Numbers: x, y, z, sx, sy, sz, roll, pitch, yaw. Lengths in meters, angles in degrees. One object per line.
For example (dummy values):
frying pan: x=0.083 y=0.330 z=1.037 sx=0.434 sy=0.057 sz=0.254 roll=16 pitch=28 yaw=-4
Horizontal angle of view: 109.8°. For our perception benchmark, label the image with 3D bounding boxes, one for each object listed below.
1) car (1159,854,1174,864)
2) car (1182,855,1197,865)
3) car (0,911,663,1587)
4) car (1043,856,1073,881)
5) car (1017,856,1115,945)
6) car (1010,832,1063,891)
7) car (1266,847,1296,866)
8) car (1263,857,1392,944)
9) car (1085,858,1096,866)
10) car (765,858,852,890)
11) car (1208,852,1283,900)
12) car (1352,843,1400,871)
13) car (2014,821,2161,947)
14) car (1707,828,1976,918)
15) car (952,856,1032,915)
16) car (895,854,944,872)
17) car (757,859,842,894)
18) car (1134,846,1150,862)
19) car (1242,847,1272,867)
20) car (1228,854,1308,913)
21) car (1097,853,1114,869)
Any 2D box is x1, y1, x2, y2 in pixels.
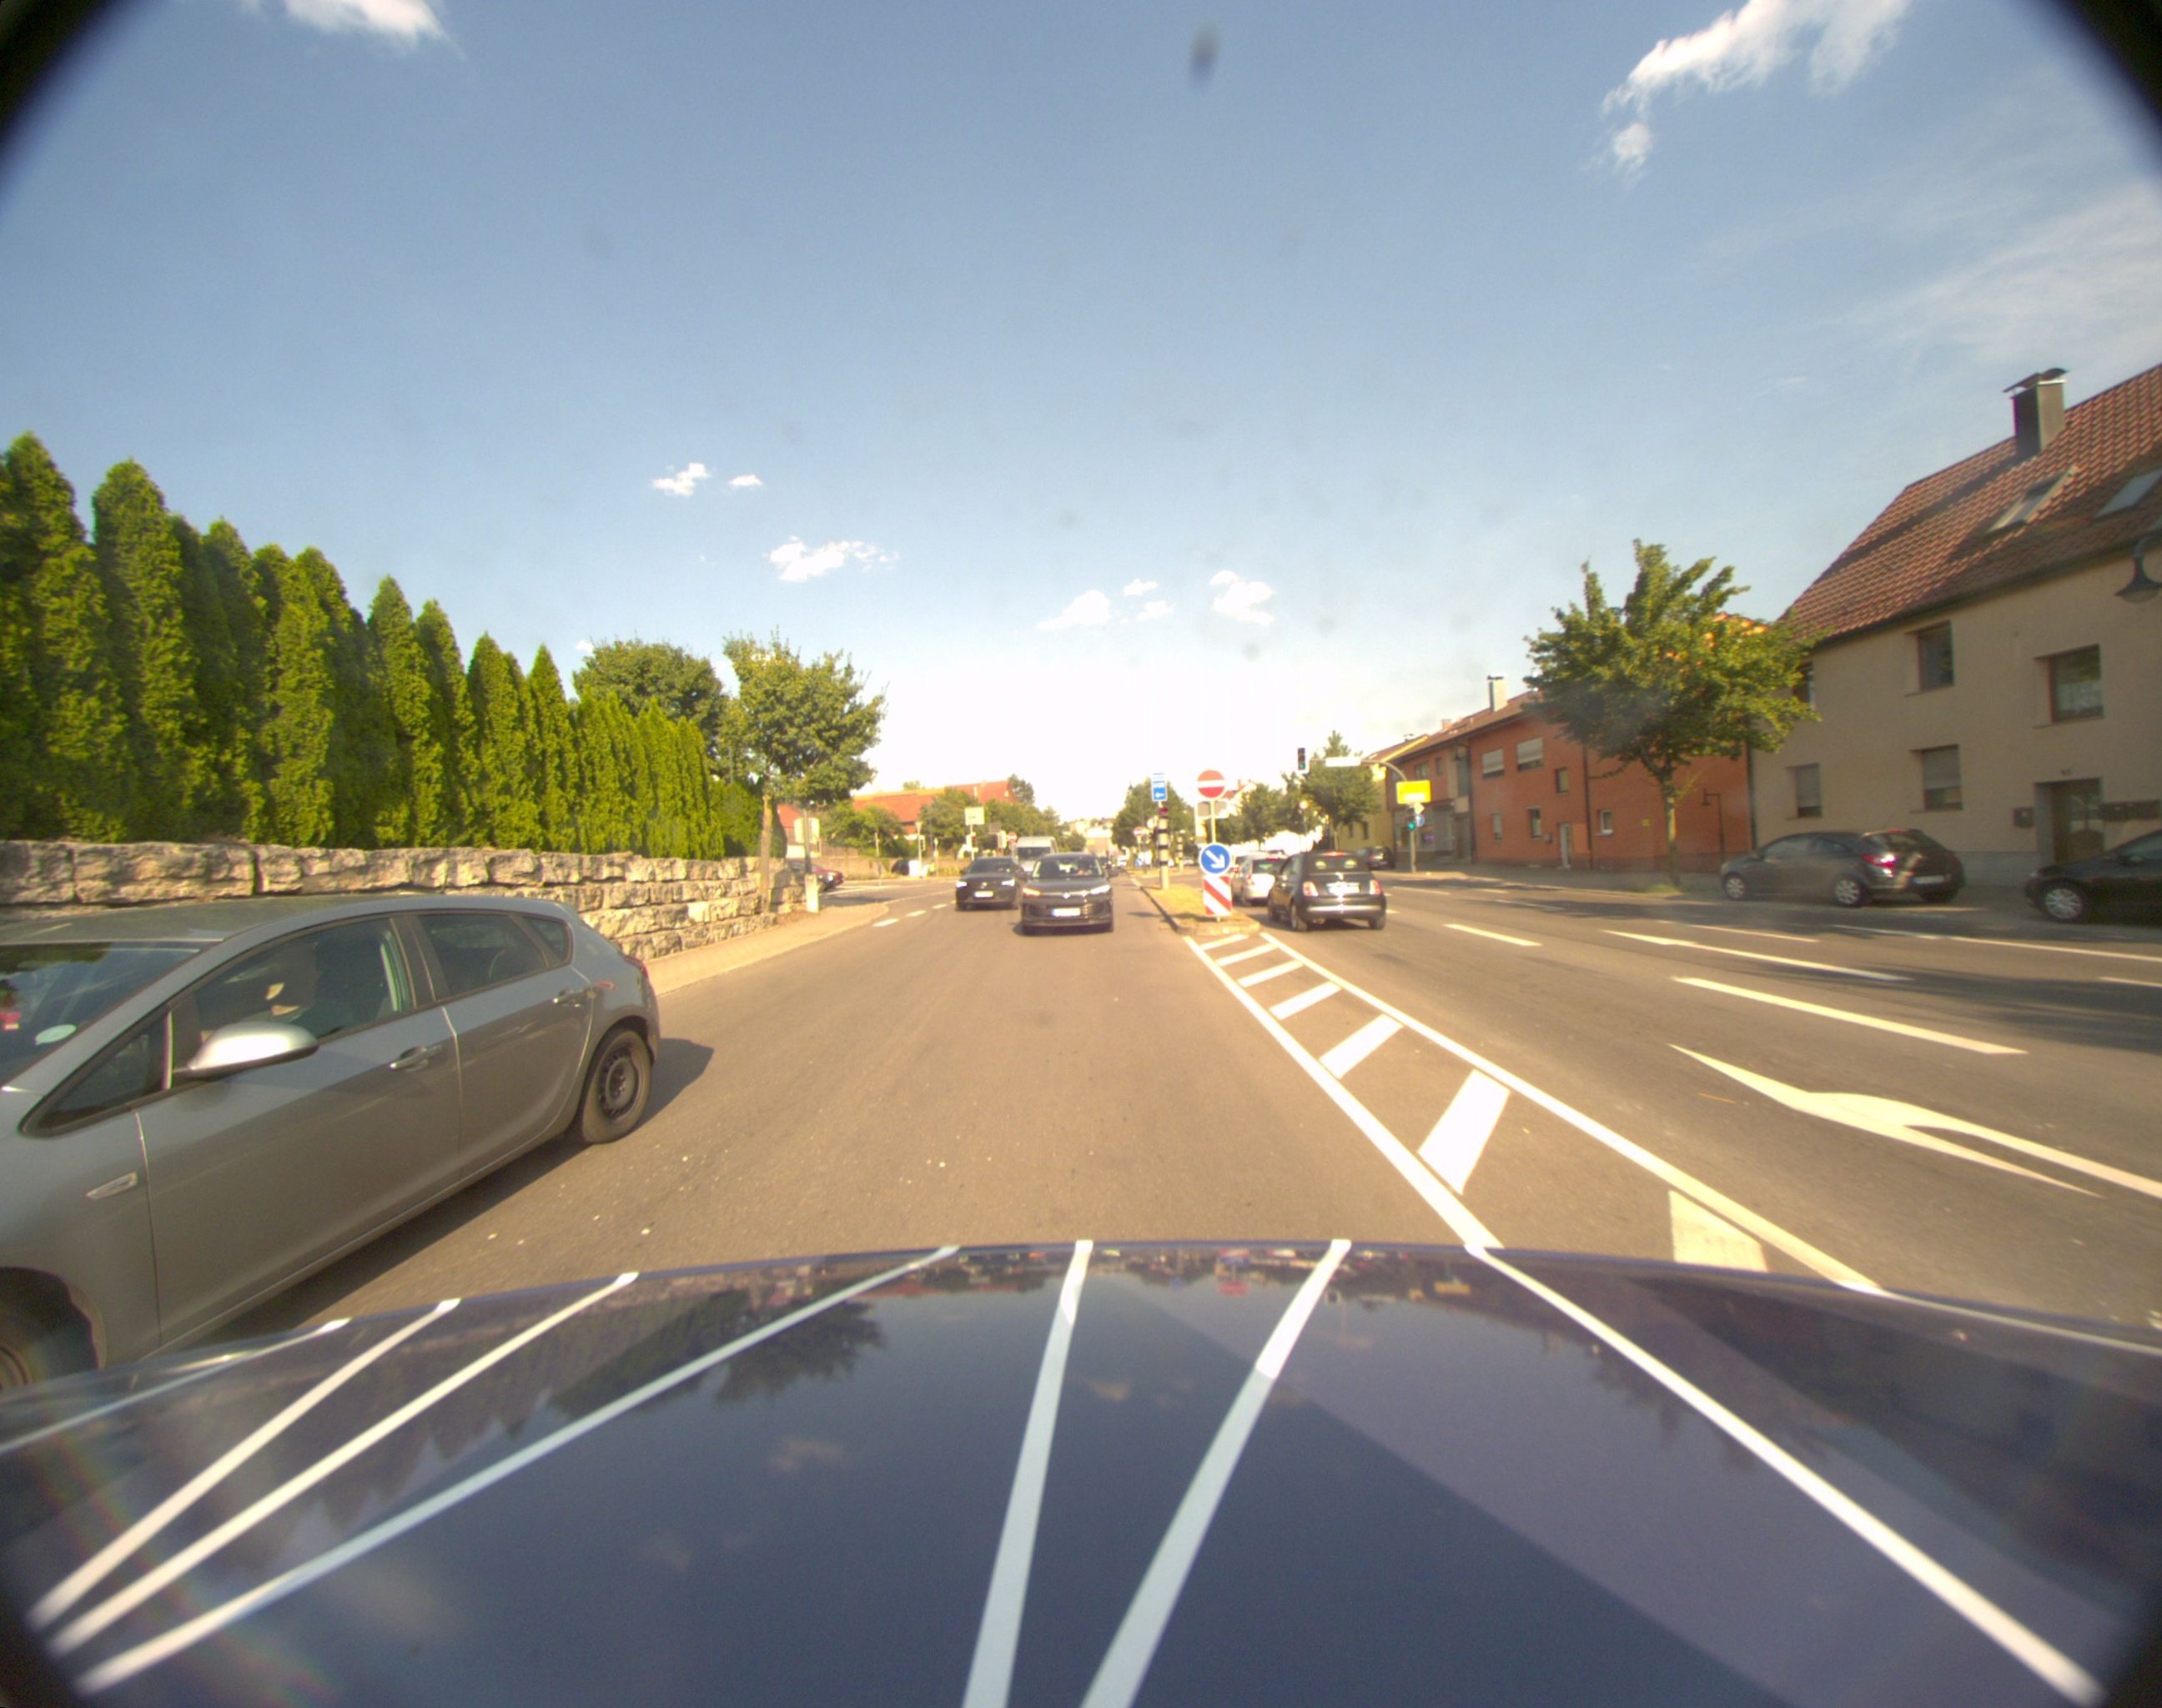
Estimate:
car: x=12.885 y=0.816 z=114.607 sx=1.761 sy=1.403 sz=4.001 roll=-2 pitch=0 yaw=2
car: x=16.745 y=0.943 z=117.465 sx=1.761 sy=1.403 sz=4.001 roll=-2 pitch=0 yaw=2
car: x=-3.414 y=1.059 z=2.602 sx=1.652 sy=1.414 sz=4.143 roll=-1 pitch=0 yaw=0
car: x=-1.631 y=1.008 z=54.271 sx=1.768 sy=1.582 sz=4.057 roll=-3 pitch=0 yaw=2
car: x=-0.199 y=0.881 z=16.224 sx=1.768 sy=1.582 sz=4.057 roll=-3 pitch=0 yaw=2
car: x=-2.137 y=0.329 z=38.311 sx=2.040 sy=2.642 sz=6.649 roll=-2 pitch=0 yaw=1
car: x=18.372 y=0.204 z=69.989 sx=1.859 sy=1.586 sz=4.462 roll=-2 pitch=0 yaw=5
car: x=4.676 y=0.813 z=14.898 sx=1.535 sy=1.453 sz=3.507 roll=-2 pitch=0 yaw=4
car: x=1.618 y=1.297 z=123.784 sx=1.530 sy=1.353 sz=2.793 roll=-2 pitch=0 yaw=5
car: x=-15.430 y=1.130 z=43.180 sx=4.251 sy=1.616 sz=1.862 roll=-2 pitch=0 yaw=-3
car: x=5.770 y=0.728 z=27.184 sx=1.839 sy=1.479 sz=4.567 roll=-2 pitch=0 yaw=2
car: x=17.246 y=0.182 z=44.585 sx=1.595 sy=1.430 sz=3.776 roll=-7 pitch=-1 yaw=6
car: x=14.615 y=0.366 z=9.319 sx=1.669 sy=1.523 sz=3.904 roll=-5 pitch=0 yaw=6
car: x=15.028 y=0.345 z=15.356 sx=1.515 sy=1.501 sz=3.886 roll=-4 pitch=0 yaw=2
car: x=-2.660 y=0.906 z=23.598 sx=1.792 sy=1.596 sz=4.057 roll=-2 pitch=0 yaw=2
car: x=-15.067 y=0.837 z=71.067 sx=4.072 sy=1.447 sz=1.680 roll=-2 pitch=0 yaw=15
car: x=-14.343 y=1.129 z=38.904 sx=3.799 sy=1.533 sz=1.597 roll=-3 pitch=1 yaw=-10
car: x=10.245 y=0.046 z=127.342 sx=2.090 sy=2.461 sz=5.479 roll=-2 pitch=0 yaw=0
car: x=14.911 y=0.239 z=64.632 sx=1.690 sy=1.602 sz=4.414 roll=-2 pitch=0 yaw=2
car: x=5.168 y=0.771 z=21.356 sx=1.592 sy=1.419 sz=3.579 roll=-2 pitch=0 yaw=5
car: x=3.029 y=0.840 z=93.382 sx=1.816 sy=1.861 sz=4.001 roll=-2 pitch=0 yaw=4
